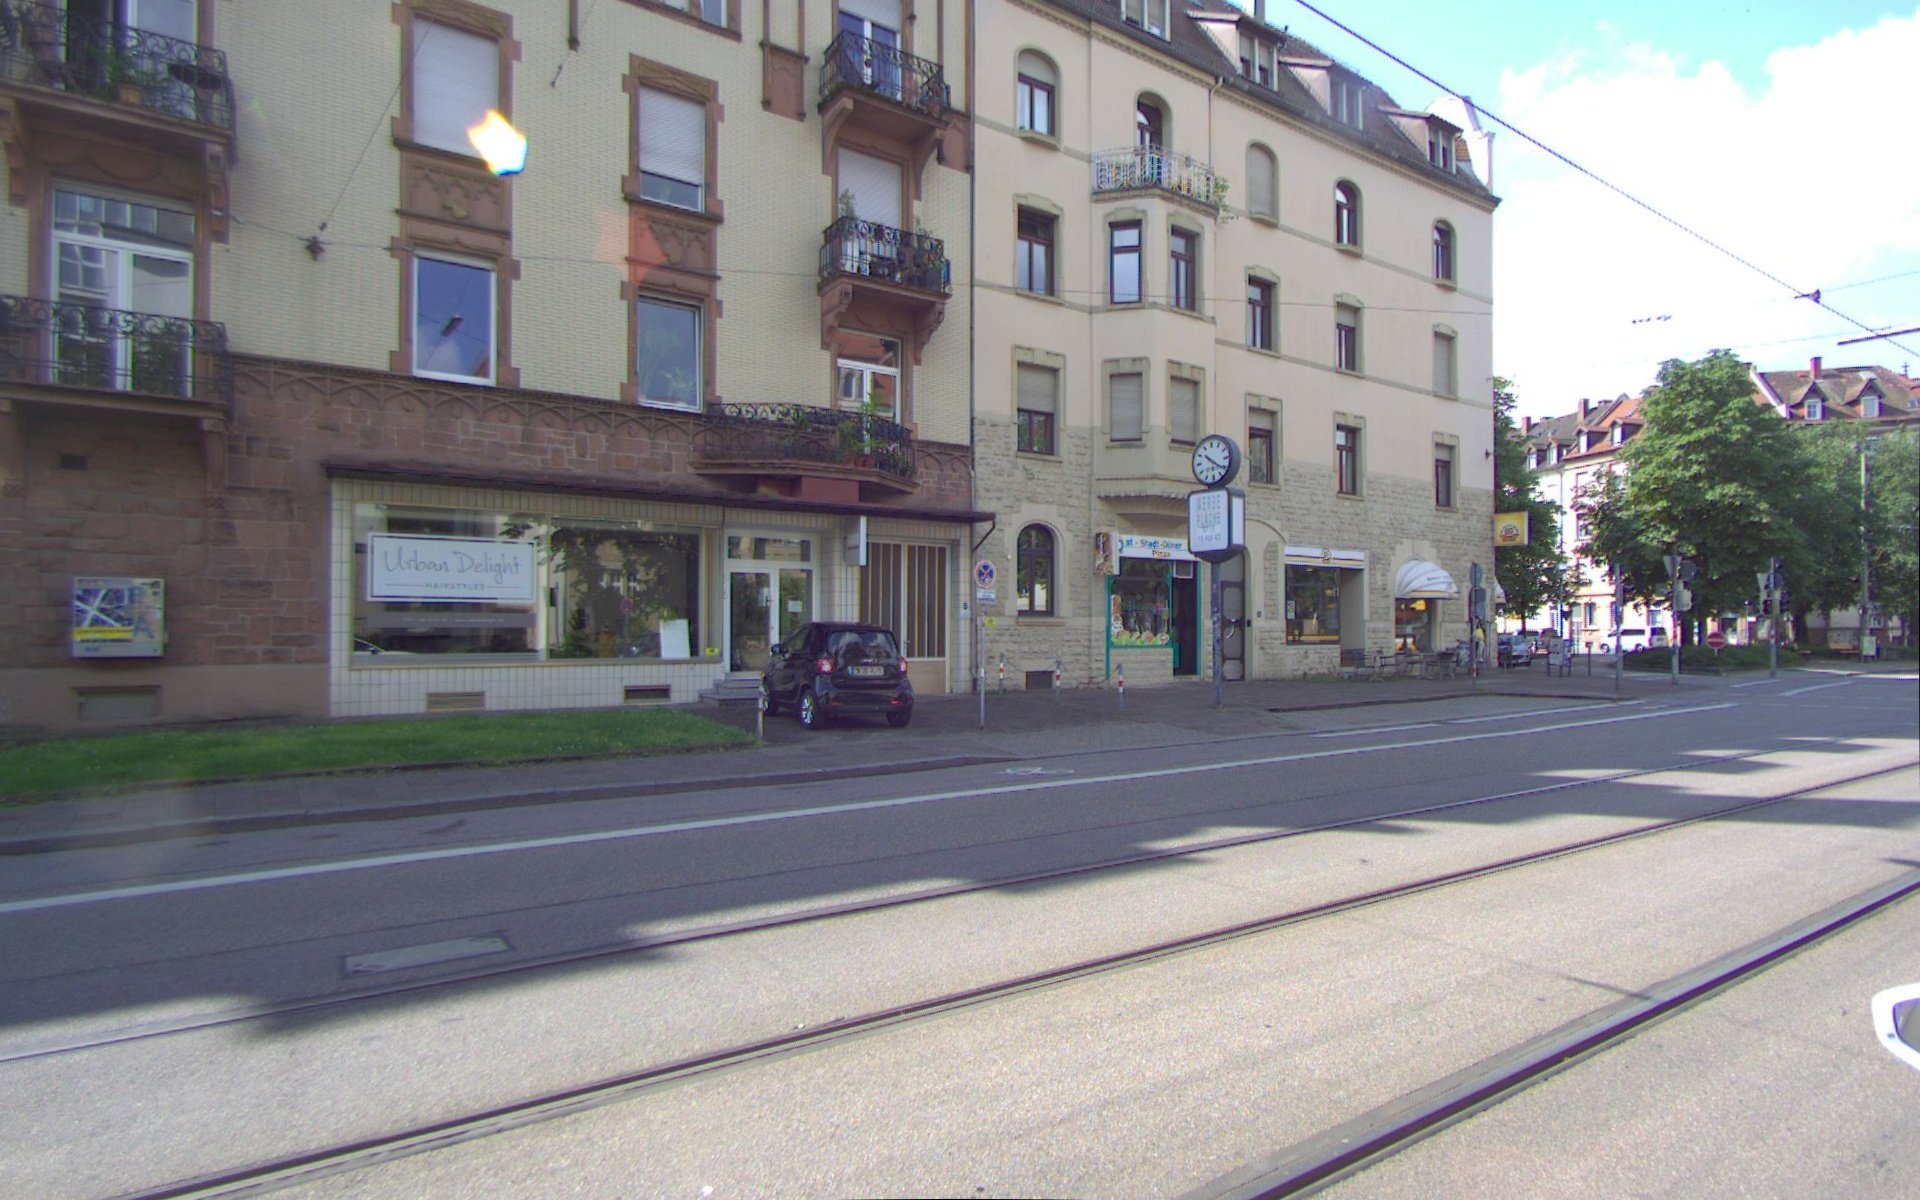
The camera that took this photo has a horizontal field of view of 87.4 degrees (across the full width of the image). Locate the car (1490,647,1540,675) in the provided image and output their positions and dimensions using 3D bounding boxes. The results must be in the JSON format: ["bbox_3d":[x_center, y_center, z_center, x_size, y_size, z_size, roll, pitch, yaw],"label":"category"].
[{"bbox_3d":[27.226,2.967,49.340,1.646,1.198,3.999,0,-2,22],"label":"car"}]

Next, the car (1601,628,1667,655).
[{"bbox_3d":[49.922,3.041,74.501,1.962,1.929,3.997,0,-2,-5],"label":"car"}]

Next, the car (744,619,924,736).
[{"bbox_3d":[-2.068,1.121,15.833,1.716,1.505,3.162,1,1,-30],"label":"car"}]

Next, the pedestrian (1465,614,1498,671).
[{"bbox_3d":[16.669,1.343,32.108,0.795,1.777,0.677,1,-2,-41],"label":"pedestrian"}]

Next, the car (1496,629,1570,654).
[{"bbox_3d":[39.330,2.831,68.988,1.976,1.617,3.970,1,-2,-29],"label":"car"}]
